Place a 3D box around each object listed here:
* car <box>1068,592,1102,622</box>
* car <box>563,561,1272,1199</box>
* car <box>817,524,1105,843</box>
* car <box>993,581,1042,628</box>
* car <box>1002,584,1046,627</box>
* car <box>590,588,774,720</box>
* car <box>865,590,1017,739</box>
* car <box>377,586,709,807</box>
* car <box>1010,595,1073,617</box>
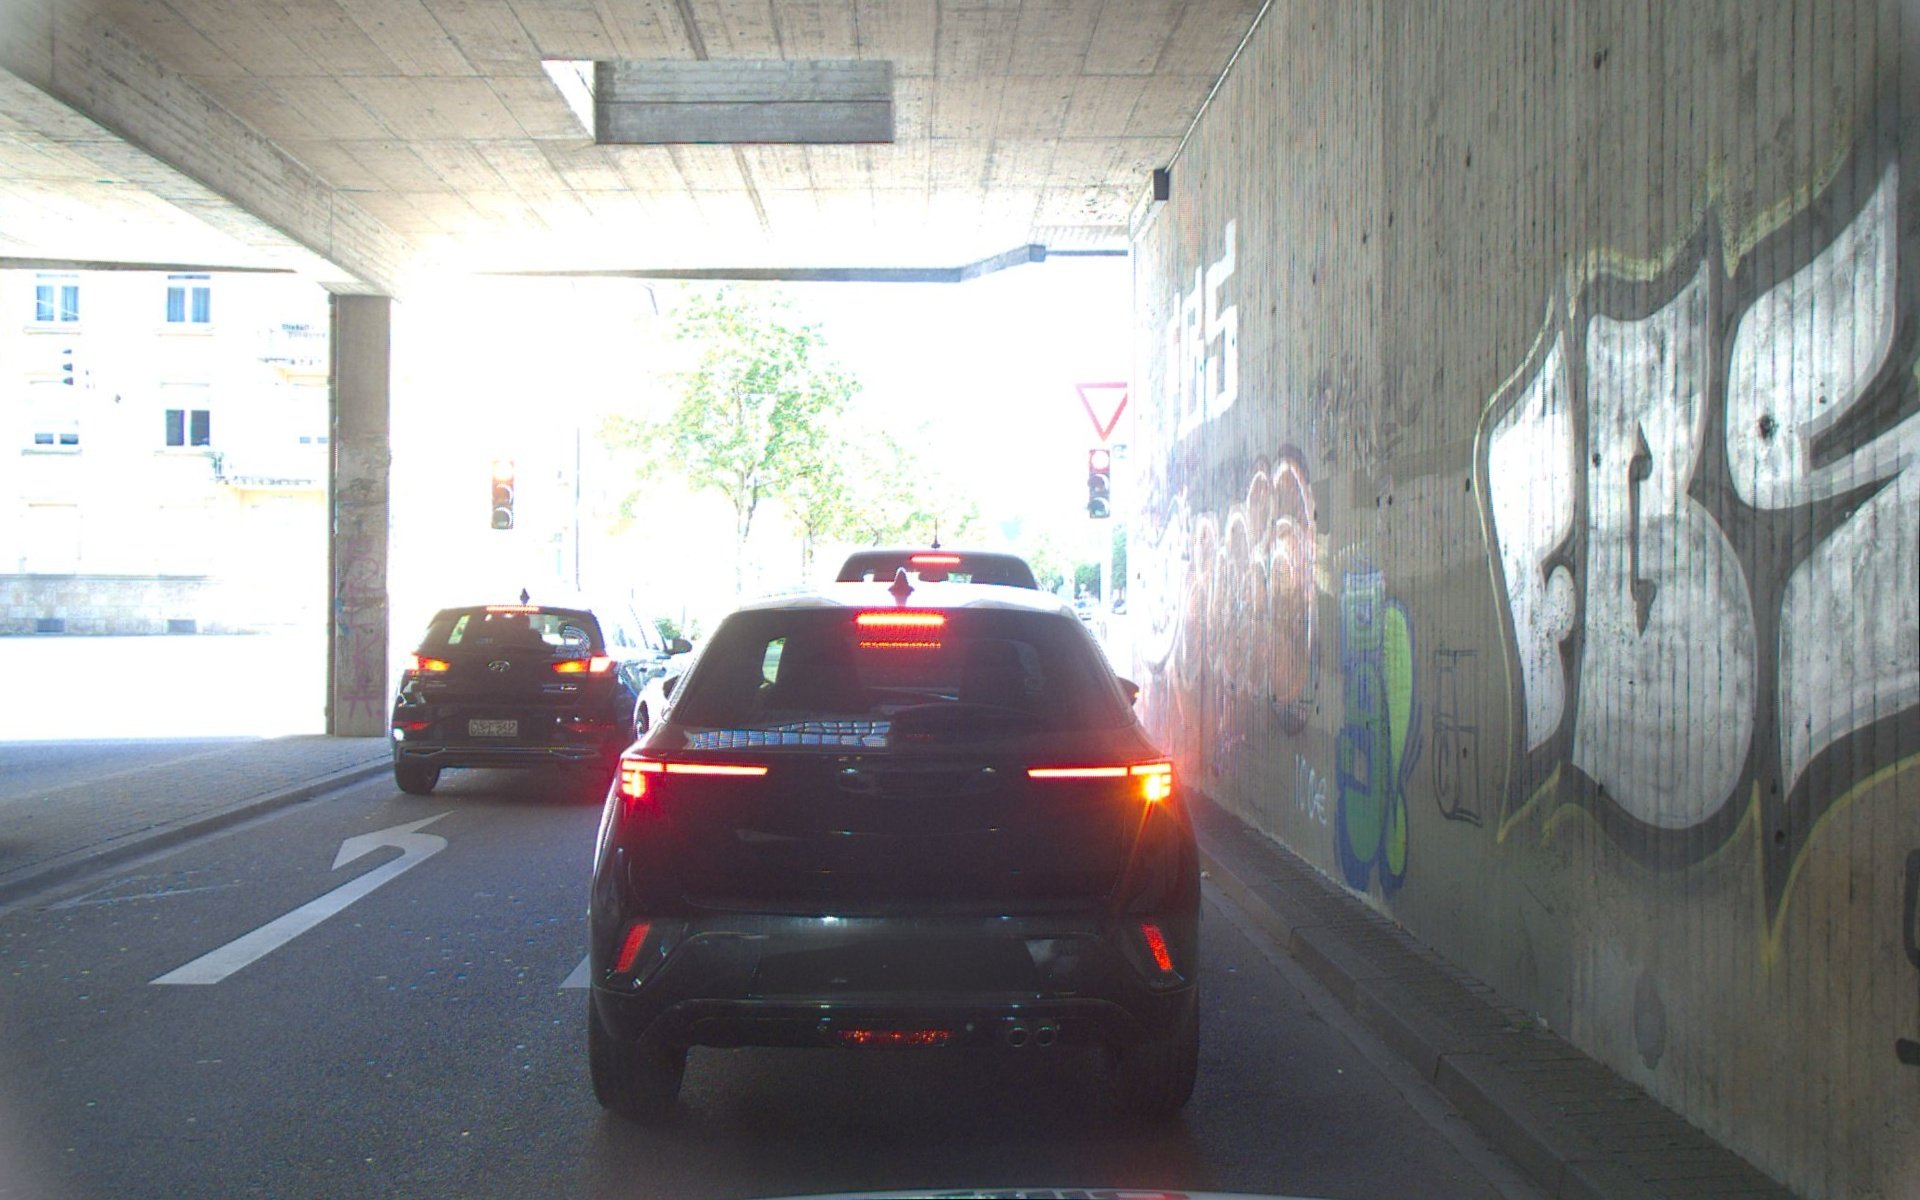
[{"bbox_3d":[7.489,0.421,98.704,1.716,1.696,3.947,1,0,8],"label":"car"},{"bbox_3d":[-0.129,0.683,6.092,1.726,1.558,4.088,0,0,-1],"label":"car"},{"bbox_3d":[-0.023,0.501,12.037,1.726,1.915,4.145,0,0,-1],"label":"car"},{"bbox_3d":[2.186,0.177,62.232,1.717,1.696,3.946,1,0,3],"label":"car"},{"bbox_3d":[2.676,0.211,68.358,1.717,1.696,3.946,1,0,3],"label":"car"},{"bbox_3d":[-3.410,0.617,20.956,1.726,1.506,3.843,0,0,-1],"label":"car"},{"bbox_3d":[-0.229,0.667,19.251,1.576,1.539,4.053,0,0,-1],"label":"car"},{"bbox_3d":[-3.139,0.656,13.235,1.726,1.506,3.843,0,0,-1],"label":"car"},{"bbox_3d":[6.596,0.504,133.873,4.732,1.696,1.812,1,0,-22],"label":"car"}]
